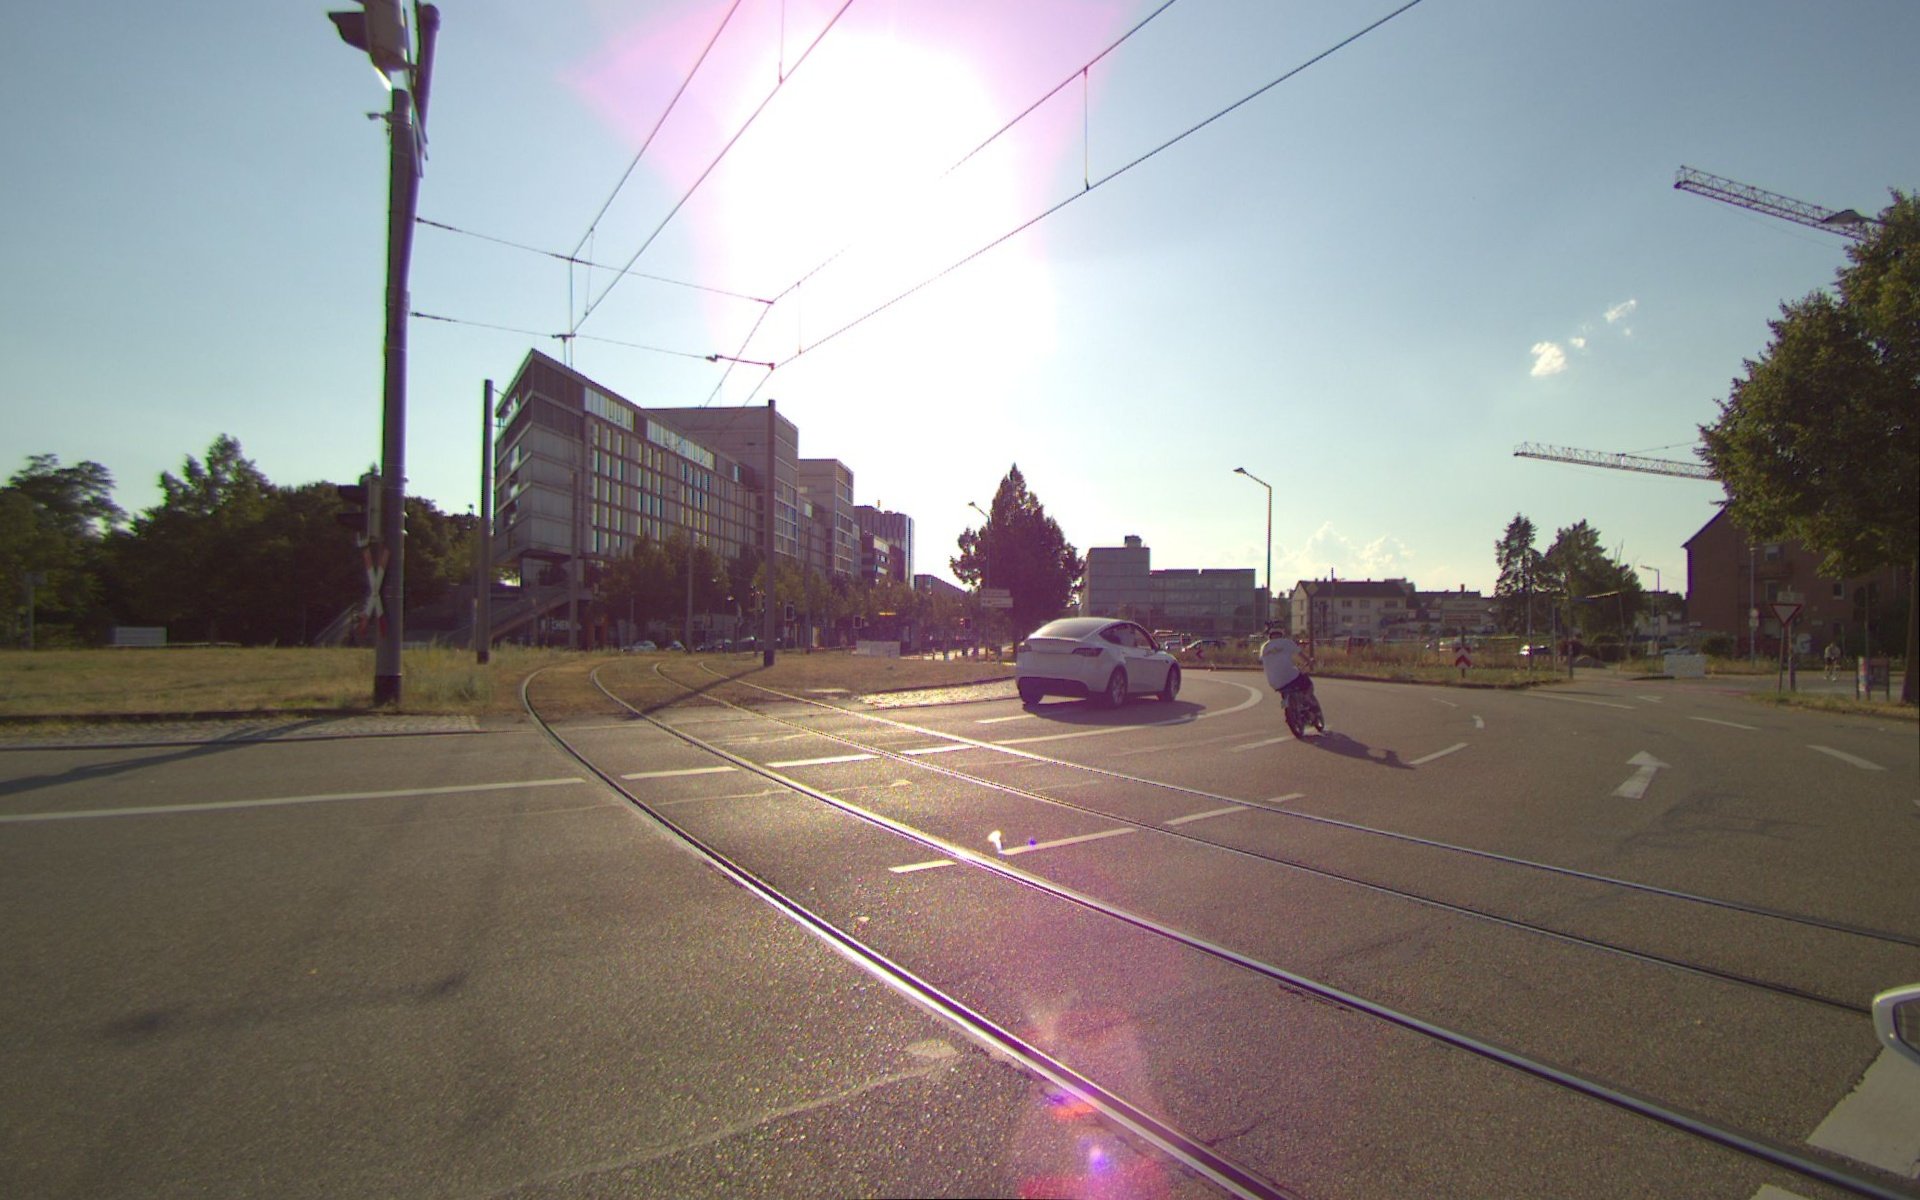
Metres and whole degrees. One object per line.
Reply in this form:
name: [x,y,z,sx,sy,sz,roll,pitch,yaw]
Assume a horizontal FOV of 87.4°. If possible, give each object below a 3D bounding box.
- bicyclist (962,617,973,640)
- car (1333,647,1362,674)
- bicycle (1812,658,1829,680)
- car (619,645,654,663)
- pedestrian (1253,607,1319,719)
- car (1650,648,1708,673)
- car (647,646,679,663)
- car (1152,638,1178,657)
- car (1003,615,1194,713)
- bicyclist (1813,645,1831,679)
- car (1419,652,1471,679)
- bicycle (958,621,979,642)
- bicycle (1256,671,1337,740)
bicyclist: [0.567,2.083,74.469,0.598,1.694,0.477,0,-2,32]
car: [29.117,4.515,75.490,1.889,1.878,3.998,0,-2,23]
bicycle: [41.425,3.313,48.343,0.590,0.976,2.096,-1,-3,40]
car: [-27.059,4.510,84.177,1.454,1.495,3.302,0,-2,9]
pedestrian: [4.656,0.878,14.325,0.647,1.539,0.851,-1,-2,38]
car: [61.572,5.132,86.101,1.646,2.040,3.805,2,-2,-19]
car: [-26.537,4.872,89.853,1.454,1.495,3.302,0,-2,9]
car: [22.805,5.309,111.845,1.962,2.040,3.999,0,-2,-4]
car: [2.811,1.156,19.382,1.712,1.620,4.663,1,-1,35]
bicyclist: [41.583,2.975,48.461,0.650,1.582,0.890,-1,-2,40]
car: [39.384,5.317,81.700,1.646,2.040,3.805,2,-2,-19]
bicycle: [0.596,2.323,74.452,1.517,1.493,0.478,-1,-2,32]
bicycle: [4.852,1.481,14.411,0.472,0.887,1.848,0,-2,39]
